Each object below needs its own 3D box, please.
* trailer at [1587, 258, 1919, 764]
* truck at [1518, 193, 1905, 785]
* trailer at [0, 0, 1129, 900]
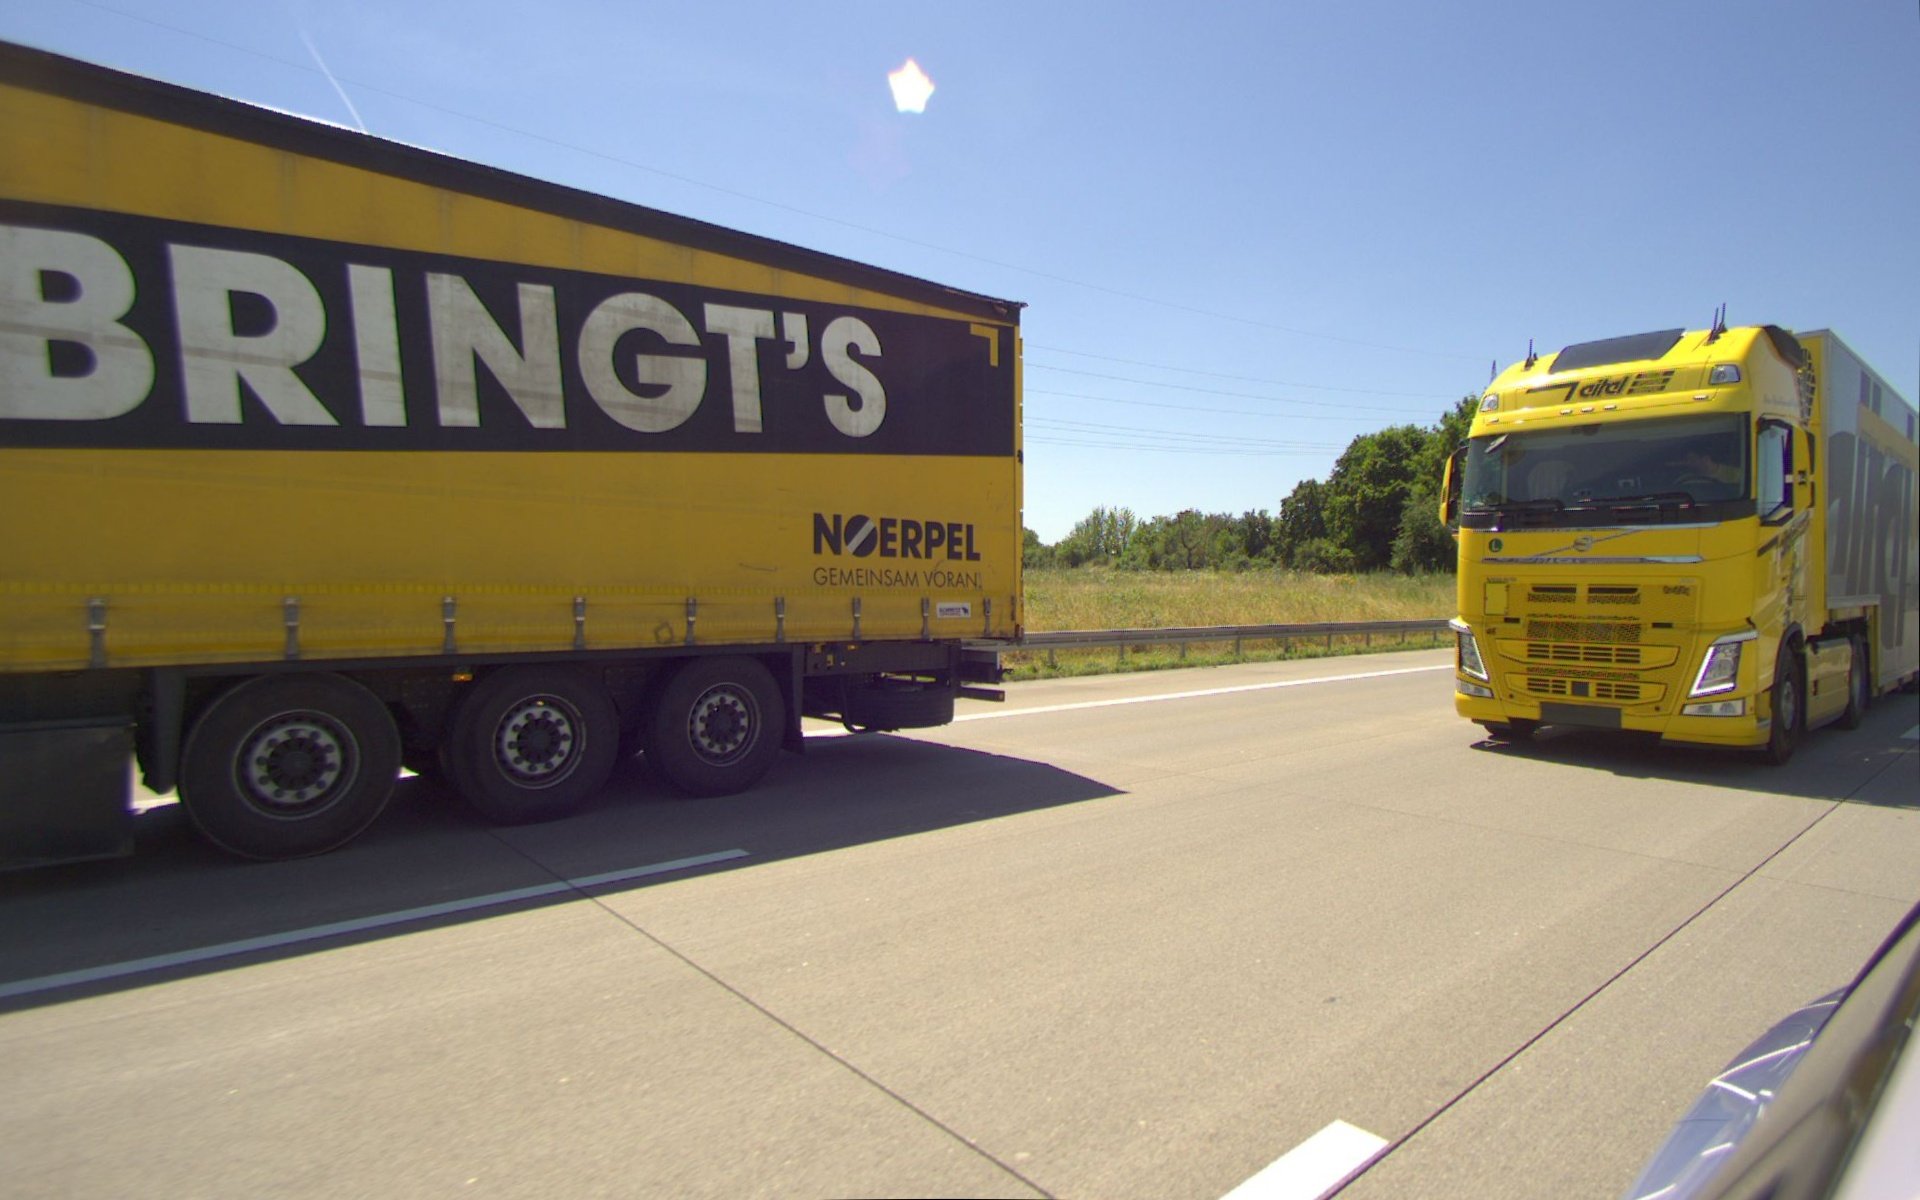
[{"bbox_3d":[12.531,-0.840,14.334,14.937,4.308,1.996,-1,0,-42],"label":"trailer"},{"bbox_3d":[7.472,-0.838,9.819,5.105,4.308,1.996,-1,0,-41],"label":"truck"},{"bbox_3d":[-4.486,-0.774,5.794,14.488,4.246,1.997,-1,0,-41],"label":"trailer"}]
